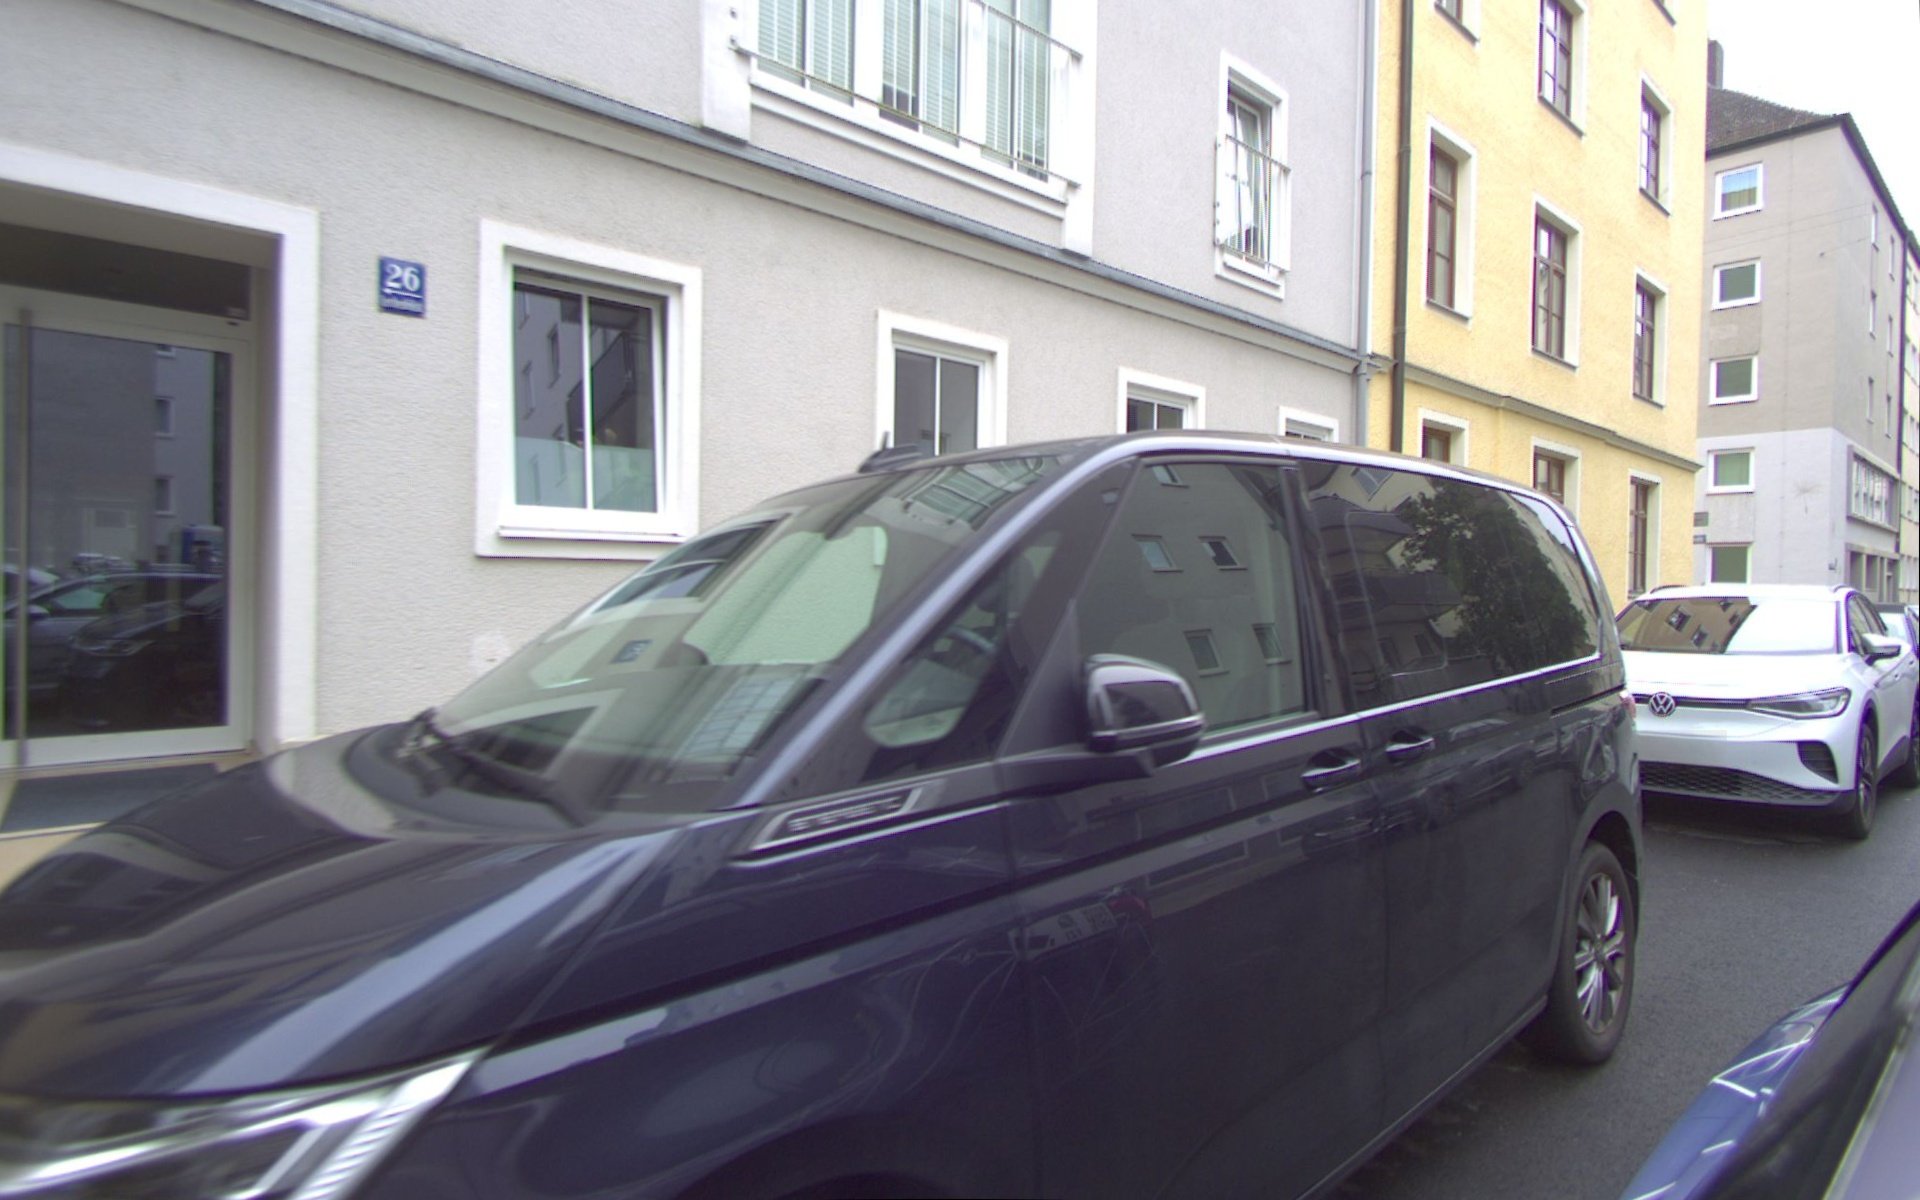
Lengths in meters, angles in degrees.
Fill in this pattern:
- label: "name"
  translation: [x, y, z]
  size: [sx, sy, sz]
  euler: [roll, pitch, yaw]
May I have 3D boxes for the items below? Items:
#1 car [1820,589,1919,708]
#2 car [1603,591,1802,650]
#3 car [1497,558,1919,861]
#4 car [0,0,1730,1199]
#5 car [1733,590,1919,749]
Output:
- label: "car"
  translation: [13.761, 0.624, 14.469]
  size: [3.790, 1.523, 1.690]
  euler: [0, 1, -41]
- label: "car"
  translation: [20.226, 0.493, 27.663]
  size: [1.941, 1.398, 4.151]
  euler: [0, 2, -45]
- label: "car"
  translation: [6.126, 0.573, 7.879]
  size: [4.462, 1.695, 1.965]
  euler: [0, 2, -41]
- label: "car"
  translation: [0.443, 0.425, 3.041]
  size: [5.094, 1.862, 1.985]
  euler: [0, 0, -41]
- label: "car"
  translation: [10.391, 0.666, 11.614]
  size: [3.790, 1.523, 1.690]
  euler: [0, 1, -41]
